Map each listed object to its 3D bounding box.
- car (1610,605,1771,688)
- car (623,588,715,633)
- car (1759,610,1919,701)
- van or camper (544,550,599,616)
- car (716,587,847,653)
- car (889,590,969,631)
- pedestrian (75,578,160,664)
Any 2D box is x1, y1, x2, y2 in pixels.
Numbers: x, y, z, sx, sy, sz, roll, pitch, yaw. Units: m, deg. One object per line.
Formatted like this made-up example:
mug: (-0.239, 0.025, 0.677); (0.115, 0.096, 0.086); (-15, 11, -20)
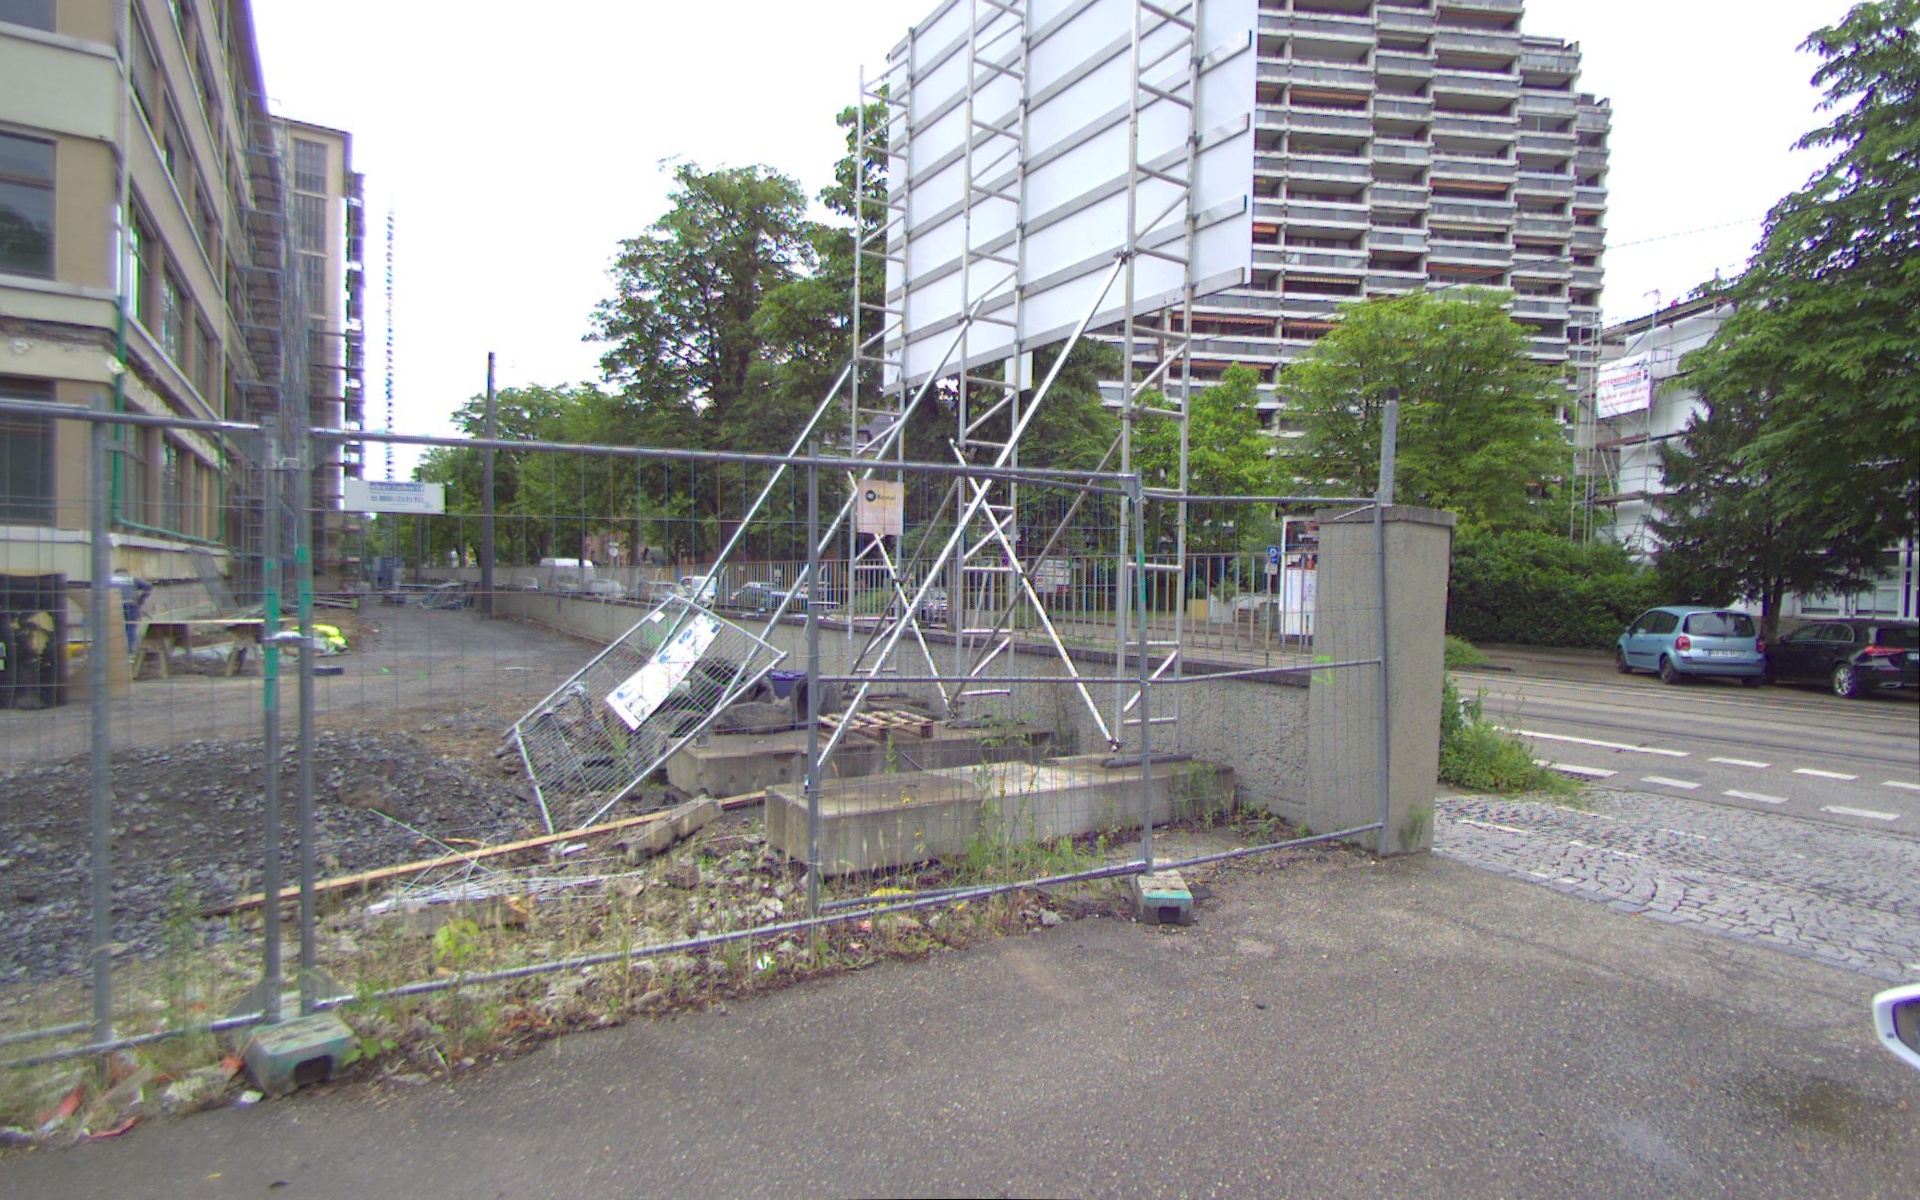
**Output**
car: (15.506, 0.925, 21.524); (1.586, 1.557, 3.338); (2, 1, 14)
car: (-9.742, 0.320, 33.446); (1.978, 1.328, 3.965); (1, 1, -32)
car: (16.949, 0.987, 19.004); (1.586, 1.531, 3.339); (2, 0, 14)
van or camper: (-17.466, -0.752, 45.089); (1.974, 2.789, 3.973); (1, 1, -26)
car: (-4.457, 0.436, 24.615); (1.813, 1.437, 3.965); (1, 1, -32)
car: (-1.212, 0.364, 37.902); (1.504, 1.439, 3.400); (1, 1, -32)
pedestrian: (-14.841, 0.358, 17.696); (0.916, 1.457, 0.979); (2, 0, 38)
